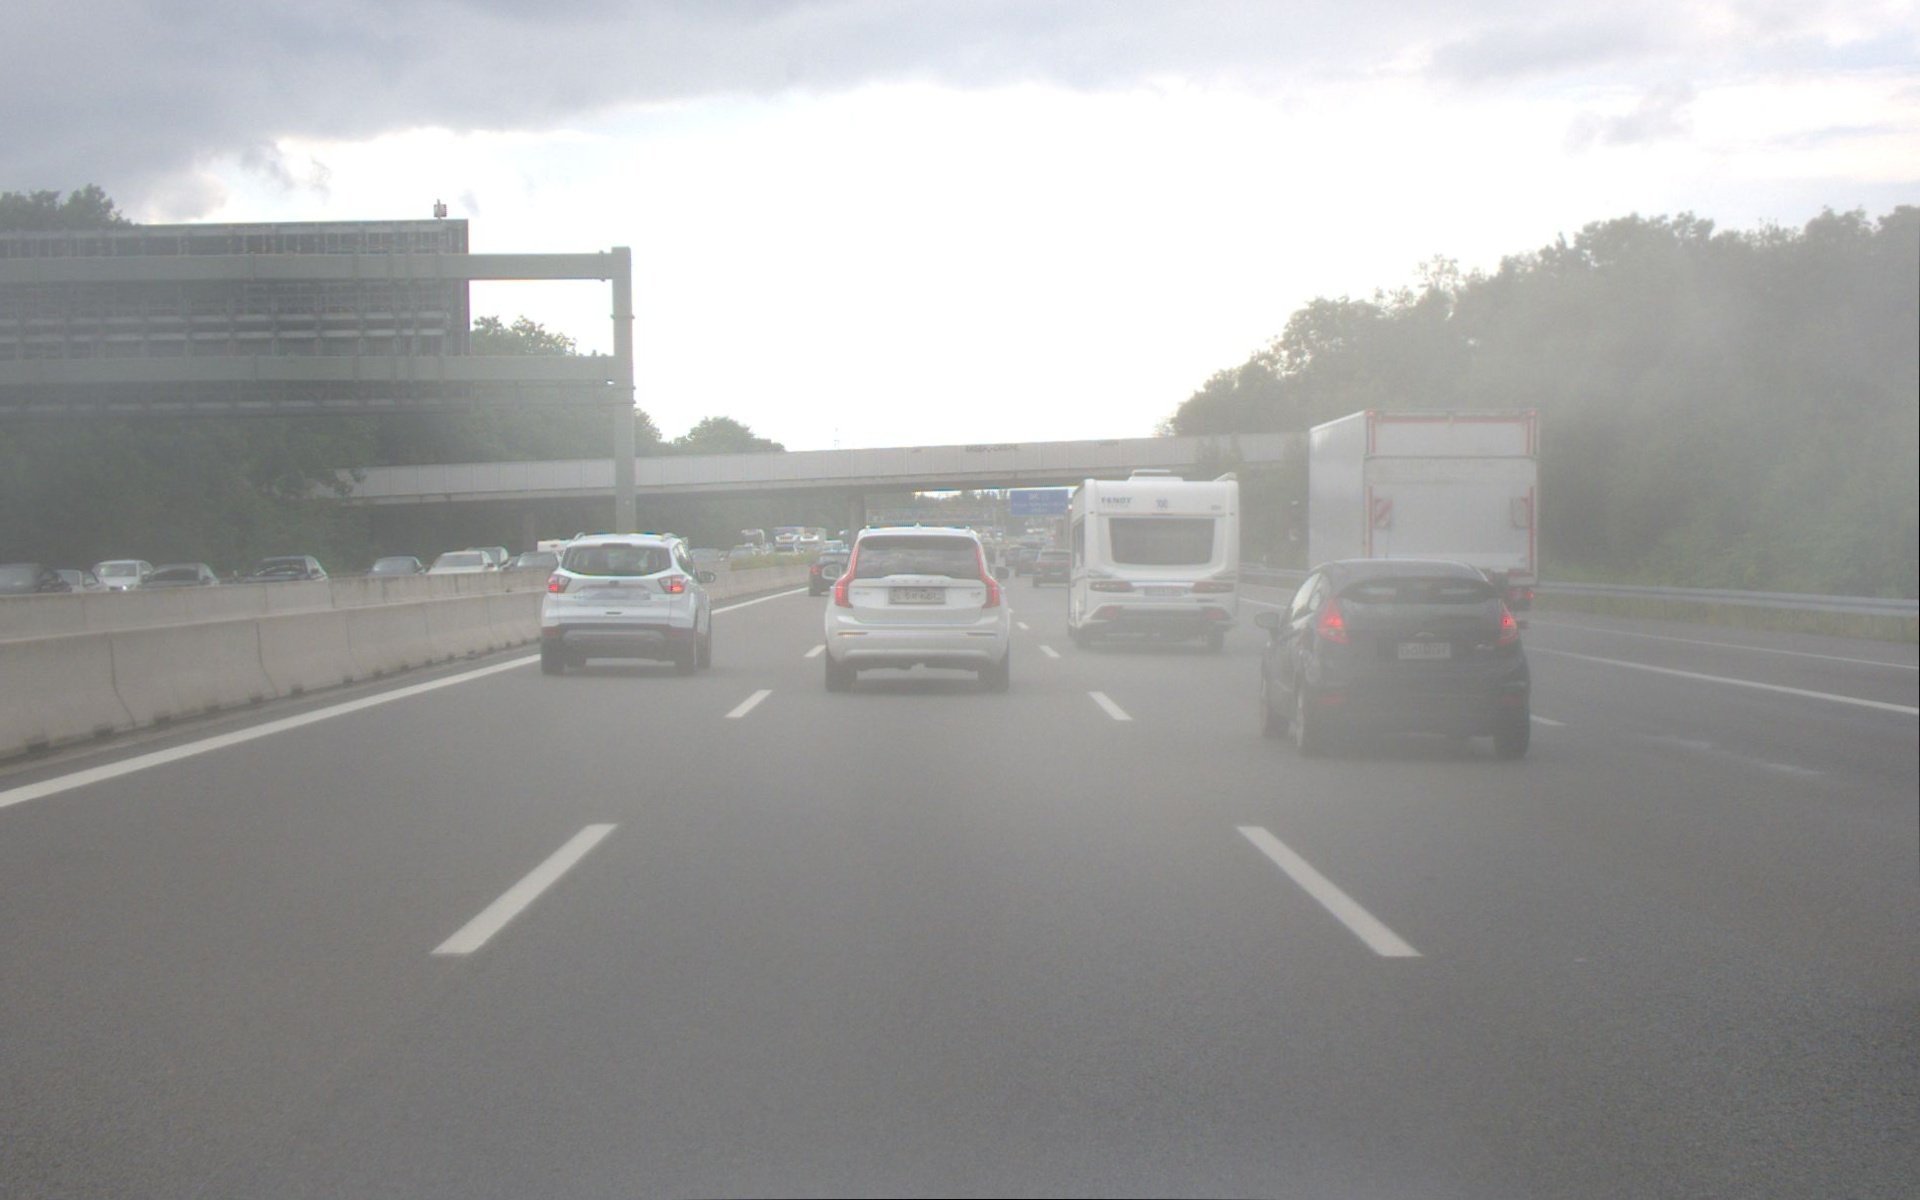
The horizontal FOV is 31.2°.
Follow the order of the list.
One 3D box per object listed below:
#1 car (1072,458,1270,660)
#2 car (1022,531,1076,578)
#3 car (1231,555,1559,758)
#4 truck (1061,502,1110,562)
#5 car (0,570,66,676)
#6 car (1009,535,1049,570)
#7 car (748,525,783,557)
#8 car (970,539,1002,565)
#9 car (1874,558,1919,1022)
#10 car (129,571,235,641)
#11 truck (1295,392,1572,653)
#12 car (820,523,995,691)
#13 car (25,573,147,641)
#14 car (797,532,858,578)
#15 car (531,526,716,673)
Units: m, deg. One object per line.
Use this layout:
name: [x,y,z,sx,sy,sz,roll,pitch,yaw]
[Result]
car: [3.151,-0.651,53.129,2.567,2.885,7.534,0,1,0]
car: [3.484,-1.810,135.536,2.043,1.817,4.904,0,1,0]
car: [3.242,0.374,26.413,1.885,1.402,4.283,0,1,-1]
truck: [8.036,-4.354,220.051,2.906,3.797,7.274,0,1,0]
car: [-18.256,0.390,63.966,1.993,1.867,4.760,0,1,0]
car: [3.630,-2.509,181.968,2.043,1.817,4.904,0,1,0]
car: [-13.059,-3.978,231.527,1.993,2.174,5.289,0,1,0]
car: [1.708,-3.157,225.378,1.881,1.680,4.001,0,1,-3]
car: [3.974,0.636,9.426,1.795,1.472,4.038,0,1,-1]
car: [-21.964,0.157,97.216,1.993,1.885,4.362,0,1,0]
truck: [7.233,-1.188,53.957,3.133,3.697,9.847,0,1,1]
car: [-0.589,0.030,37.404,1.781,1.710,4.353,0,1,-1]
car: [-26.401,0.185,104.006,2.430,1.945,4.828,0,1,0]
car: [-4.276,-1.470,111.418,1.781,1.476,4.353,0,1,0]
car: [-4.058,-0.057,42.111,1.815,1.684,4.852,0,1,0]
